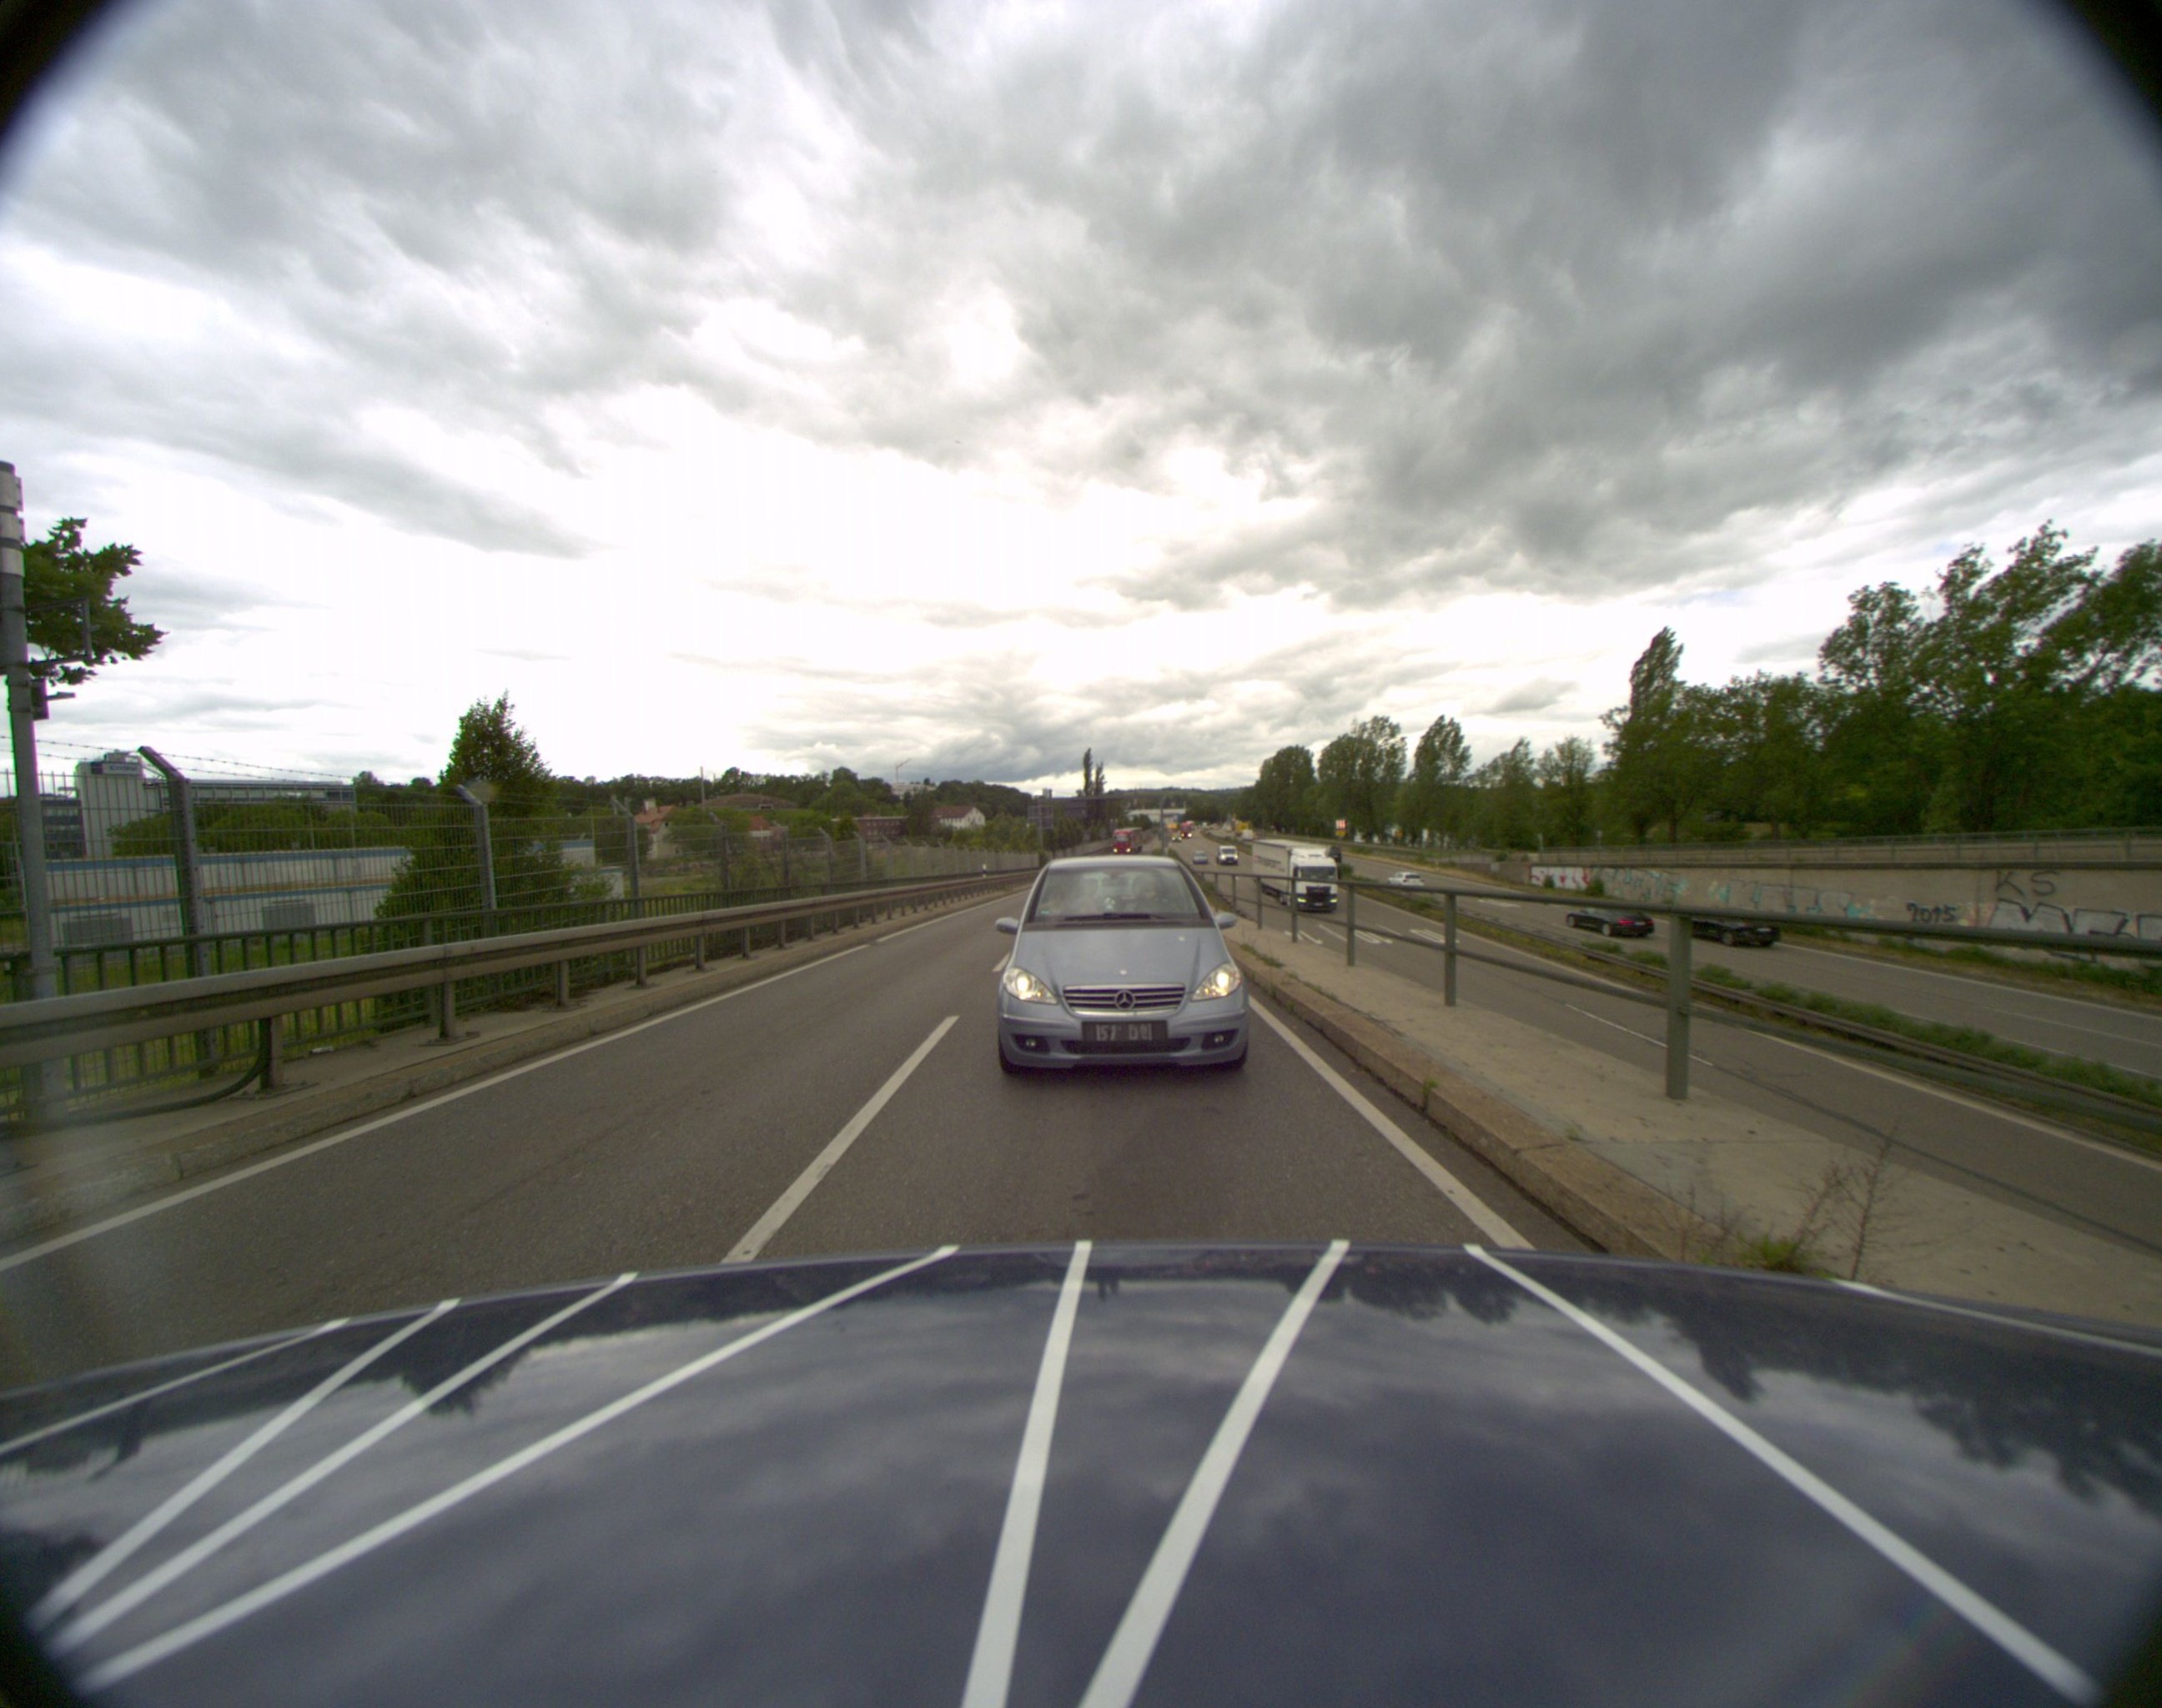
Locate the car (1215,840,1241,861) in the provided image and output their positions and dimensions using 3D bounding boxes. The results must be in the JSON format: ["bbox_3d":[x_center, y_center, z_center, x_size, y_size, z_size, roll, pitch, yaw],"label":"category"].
[{"bbox_3d":[17.875,-0.422,92.736,2.104,2.231,6.498,0,3,3],"label":"car"}]

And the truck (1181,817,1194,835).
[{"bbox_3d":[29.438,-7.794,210.052,2.754,4.712,9.916,1,3,4],"label":"truck"}]

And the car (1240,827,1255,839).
[{"bbox_3d":[37.481,-4.820,170.861,2.172,2.580,6.099,-1,3,1],"label":"car"}]

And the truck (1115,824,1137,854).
[{"bbox_3d":[6.825,-2.347,114.297,3.101,3.990,8.487,-1,4,5],"label":"truck"}]

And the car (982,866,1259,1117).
[{"bbox_3d":[0.285,0.908,6.819,1.743,1.534,3.992,-1,0,1],"label":"car"}]

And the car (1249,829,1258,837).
[{"bbox_3d":[42.121,-5.150,185.512,1.662,1.643,3.772,0,3,4],"label":"car"}]

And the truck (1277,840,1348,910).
[{"bbox_3d":[15.061,1.253,49.854,3.010,4.087,5.872,0,3,3],"label":"truck"}]

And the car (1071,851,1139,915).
[{"bbox_3d":[0.694,0.843,23.083,1.830,1.701,4.001,-2,-1,1],"label":"car"}]

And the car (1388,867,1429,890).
[{"bbox_3d":[25.979,1.939,60.389,1.778,1.486,3.896,1,3,3],"label":"car"}]

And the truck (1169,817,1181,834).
[{"bbox_3d":[23.779,-7.292,192.805,2.415,4.100,8.169,0,3,4],"label":"truck"}]

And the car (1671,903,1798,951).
[{"bbox_3d":[30.641,3.374,35.839,1.998,1.617,4.576,0,3,1],"label":"car"}]

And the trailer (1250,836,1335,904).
[{"bbox_3d":[15.397,0.869,56.687,3.010,4.087,13.983,0,3,3],"label":"trailer"}]

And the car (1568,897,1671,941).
[{"bbox_3d":[27.275,3.237,38.727,1.998,1.617,4.576,0,3,1],"label":"car"}]

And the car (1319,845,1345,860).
[{"bbox_3d":[30.827,-0.205,93.385,1.886,1.709,4.180,0,3,3],"label":"car"}]

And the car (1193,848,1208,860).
[{"bbox_3d":[14.790,-0.023,94.285,1.512,1.365,3.536,0,3,3],"label":"car"}]

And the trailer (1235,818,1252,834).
[{"bbox_3d":[46.626,-8.120,218.217,3.247,4.239,13.677,0,3,5],"label":"trailer"}]

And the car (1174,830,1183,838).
[{"bbox_3d":[21.830,-4.468,169.706,1.810,1.658,3.999,-1,3,4],"label":"car"}]
